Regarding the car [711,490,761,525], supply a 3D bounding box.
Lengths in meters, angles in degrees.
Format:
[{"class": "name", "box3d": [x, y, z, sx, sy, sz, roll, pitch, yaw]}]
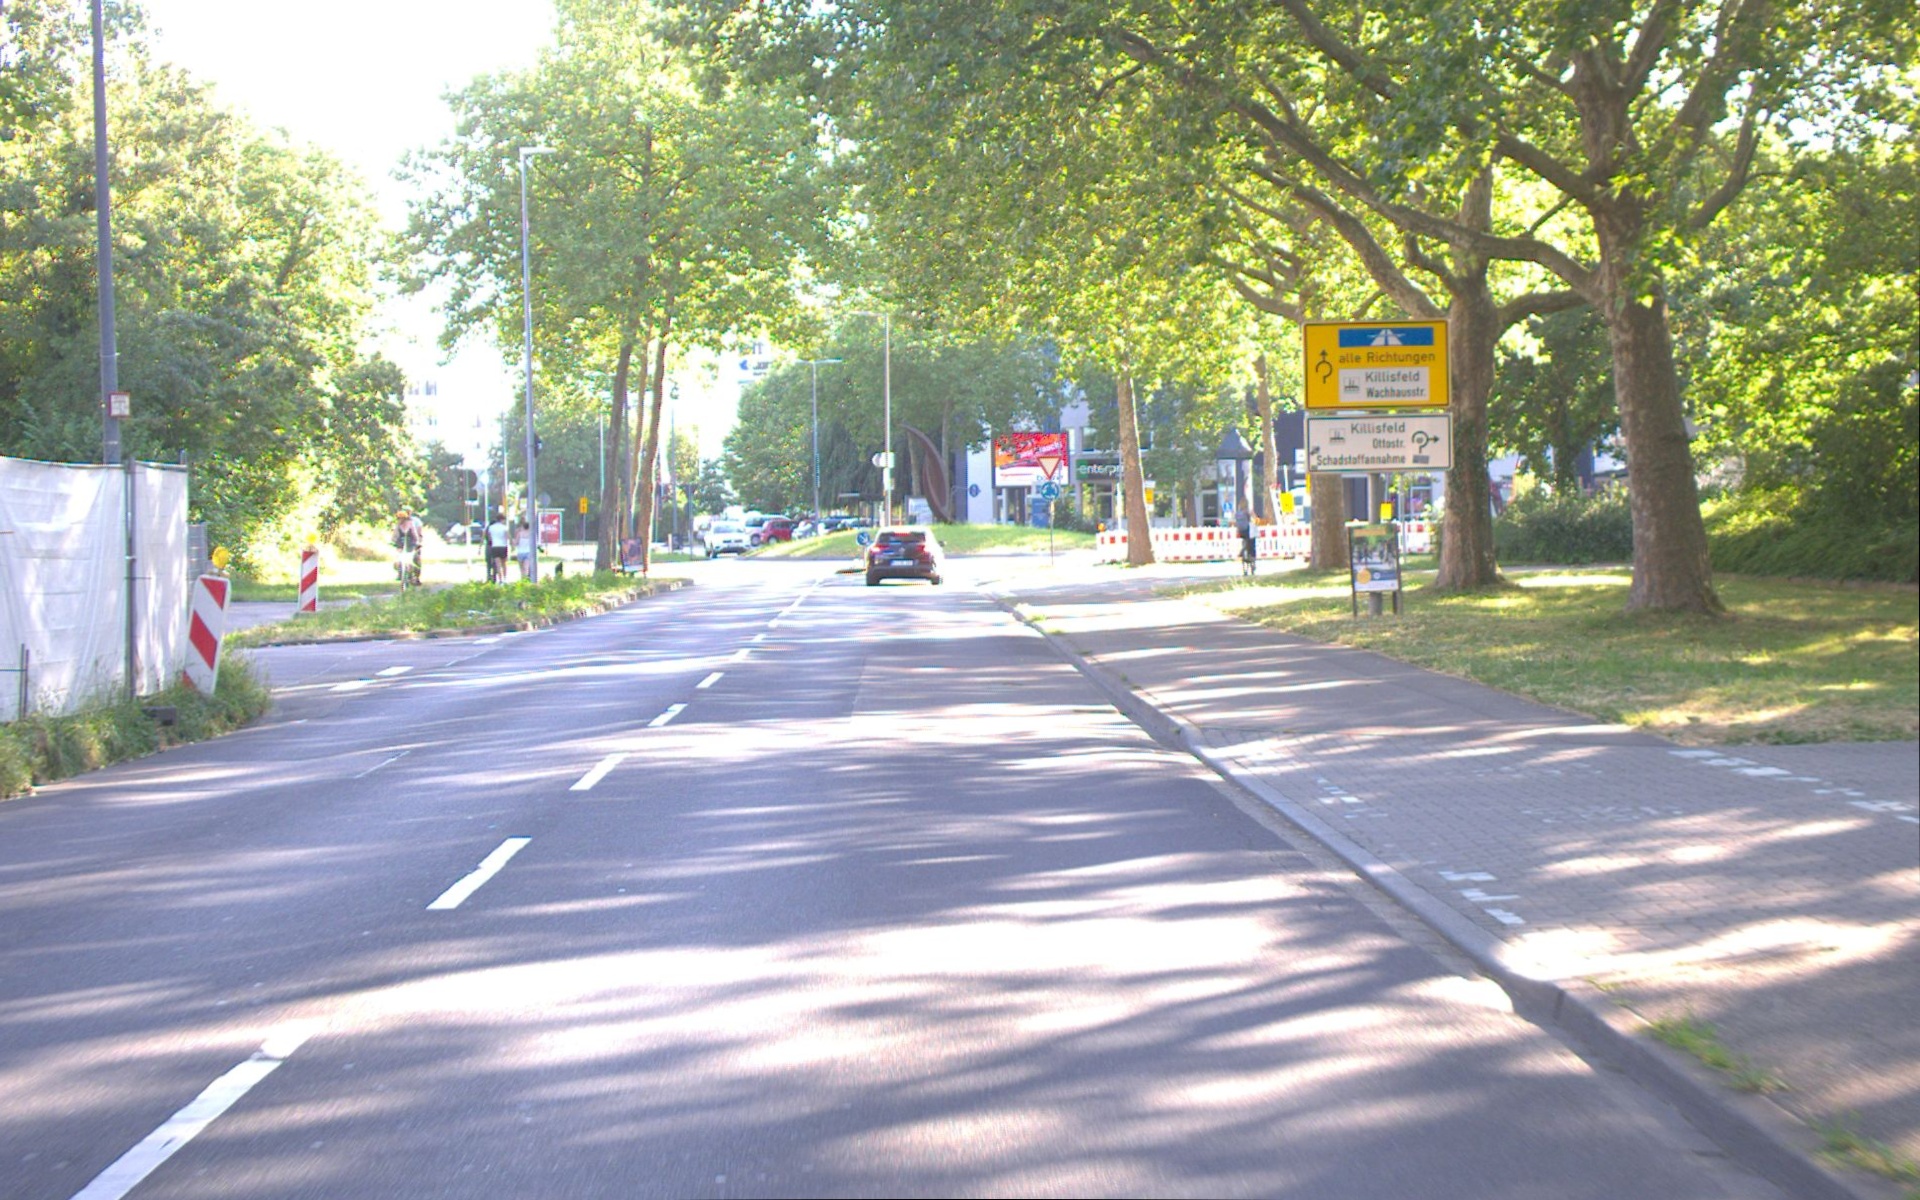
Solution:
[{"class": "car", "box3d": [-10.723, -4.432, 164.280, 1.993, 1.573, 4.001, -3, 3, -9]}]

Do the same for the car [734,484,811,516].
[{"class": "car", "box3d": [-10.717, -5.737, 196.508, 3.987, 1.740, 1.795, -3, 3, -30]}]

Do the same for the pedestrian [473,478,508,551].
[{"class": "pedestrian", "box3d": [-11.503, -2.092, 84.177, 0.665, 1.733, 0.751, -2, 2, 1]}]

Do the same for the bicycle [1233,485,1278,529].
[{"class": "bicycle", "box3d": [6.918, -2.176, 80.488, 0.770, 0.960, 2.174, -4, 2, -1]}]

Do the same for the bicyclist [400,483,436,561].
[{"class": "bicyclist", "box3d": [-12.007, -1.735, 76.188, 0.579, 1.673, 0.971, -3, 3, -2]}]

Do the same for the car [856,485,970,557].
[{"class": "car", "box3d": [-1.122, -1.932, 83.754, 1.840, 1.599, 3.861, -2, 2, 13]}]

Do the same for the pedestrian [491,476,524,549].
[{"class": "pedestrian", "box3d": [-10.984, -2.117, 83.405, 0.632, 1.733, 0.664, -2, 2, 1]}]

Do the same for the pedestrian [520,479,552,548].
[{"class": "pedestrian", "box3d": [-10.250, -2.090, 83.044, 0.632, 1.632, 0.576, -2, 2, 0]}]

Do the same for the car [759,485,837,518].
[{"class": "car", "box3d": [-9.146, -5.574, 194.162, 3.987, 1.740, 1.795, -3, 3, -30]}]

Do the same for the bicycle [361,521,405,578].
[{"class": "bicycle", "box3d": [-13.106, -1.165, 78.147, 0.579, 1.182, 2.033, -7, 3, -2]}]

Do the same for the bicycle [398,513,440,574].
[{"class": "bicycle", "box3d": [-11.983, -1.257, 76.187, 0.579, 1.241, 2.108, -3, 3, -2]}]

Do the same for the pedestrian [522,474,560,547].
[{"class": "pedestrian", "box3d": [-10.269, -2.198, 84.330, 0.748, 1.733, 0.852, -2, 2, 1]}]

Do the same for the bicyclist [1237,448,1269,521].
[{"class": "bicyclist", "box3d": [6.860, -2.712, 80.581, 0.651, 1.699, 0.871, -1, 3, 0]}]
